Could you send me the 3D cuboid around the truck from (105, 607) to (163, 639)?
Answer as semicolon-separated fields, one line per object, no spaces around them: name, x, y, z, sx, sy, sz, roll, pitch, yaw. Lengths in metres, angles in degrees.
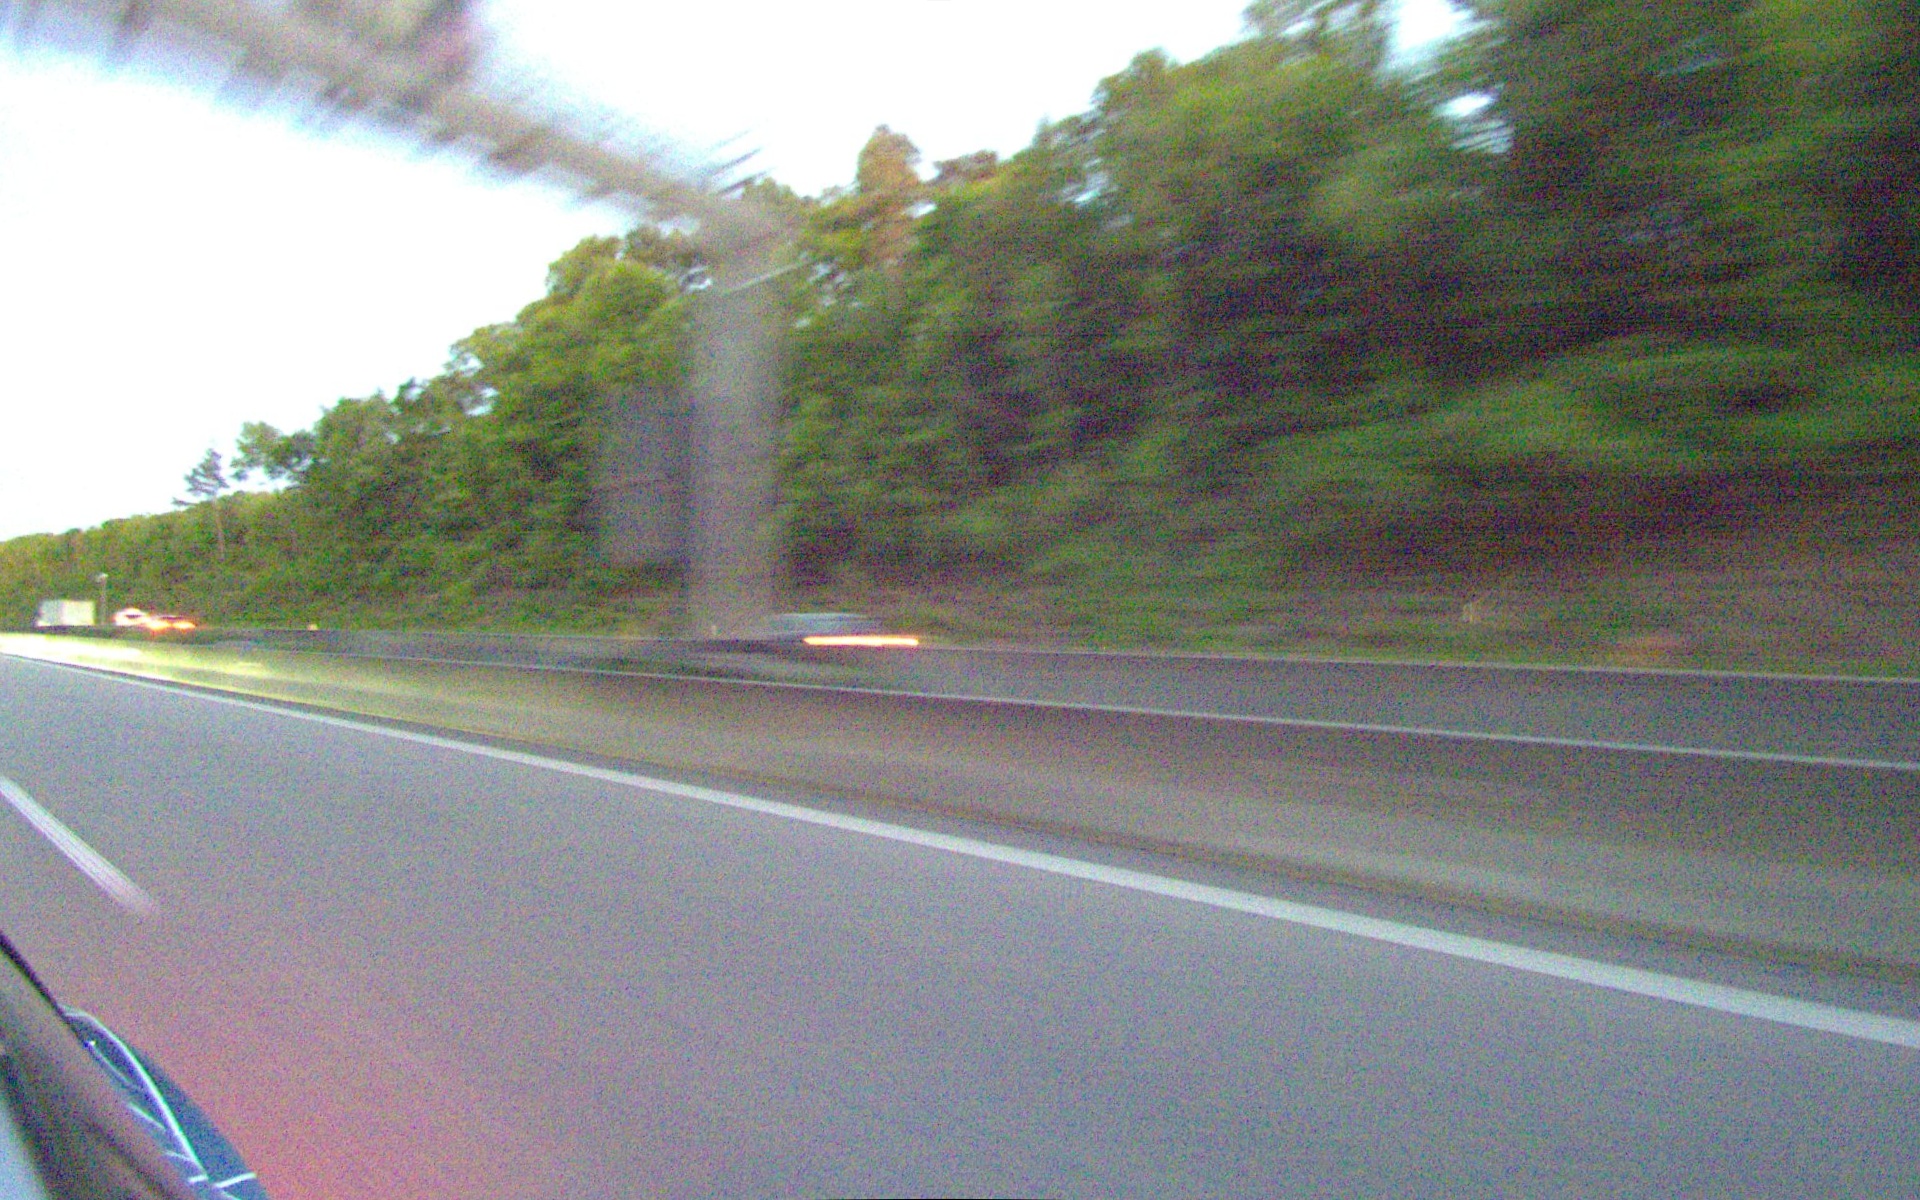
truck;-68.727;1.932;84.097;9.754;2.529;2.434;-1;-1;43

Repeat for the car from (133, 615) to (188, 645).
car;-47.923;1.788;60.627;4.712;1.728;1.718;-1;-1;41

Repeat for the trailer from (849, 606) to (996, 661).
trailer;-0.943;0.792;24.973;3.121;1.258;1.973;-1;-1;41

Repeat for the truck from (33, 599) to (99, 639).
truck;-96.083;2.069;108.681;14.487;4.034;3.322;-2;-2;41

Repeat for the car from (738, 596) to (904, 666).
car;-3.855;0.809;27.563;4.571;1.749;1.973;-1;-1;41
